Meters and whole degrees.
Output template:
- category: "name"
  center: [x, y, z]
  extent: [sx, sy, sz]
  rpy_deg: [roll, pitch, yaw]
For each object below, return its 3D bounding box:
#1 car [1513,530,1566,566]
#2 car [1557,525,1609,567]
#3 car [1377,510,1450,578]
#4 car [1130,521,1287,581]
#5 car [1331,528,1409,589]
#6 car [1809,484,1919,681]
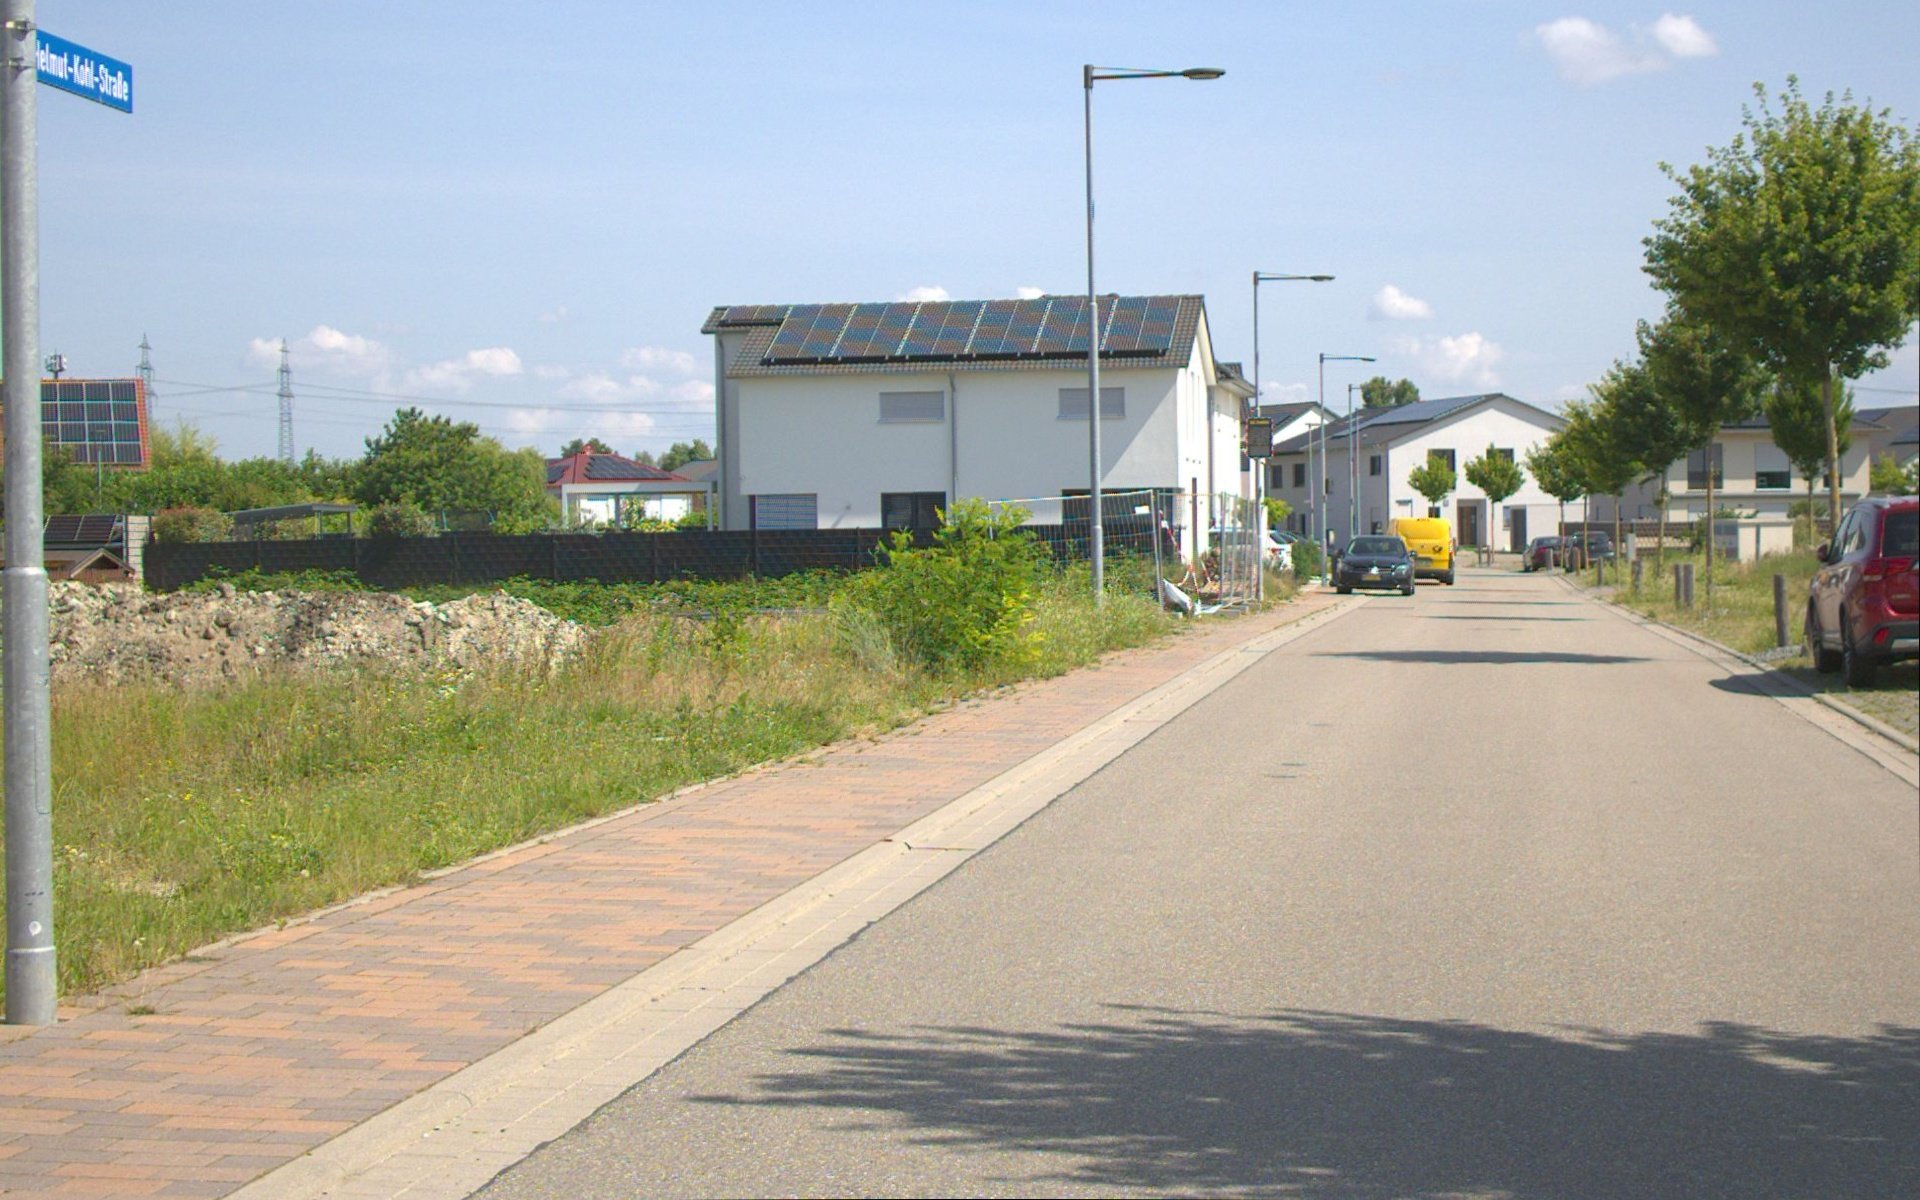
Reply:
- category: "car"
  center: [23.760, -2.130, 141.133]
  extent: [1.628, 1.318, 3.833]
  rpy_deg: [0, -1, 2]
- category: "car"
  center: [22.197, -1.907, 122.541]
  extent: [1.639, 1.398, 3.809]
  rpy_deg: [0, 0, 8]
- category: "car"
  center: [13.636, -1.668, 103.586]
  extent: [1.942, 1.975, 4.216]
  rpy_deg: [-1, 0, 5]
- category: "car"
  center: [6.866, -1.369, 94.905]
  extent: [4.071, 1.576, 1.783]
  rpy_deg: [1, 2, 14]
- category: "car"
  center: [10.029, -1.030, 83.861]
  extent: [1.746, 1.400, 4.158]
  rpy_deg: [2, 1, 8]
- category: "car"
  center: [8.905, -0.228, 31.309]
  extent: [1.777, 1.657, 4.433]
  rpy_deg: [-2, 1, 8]
